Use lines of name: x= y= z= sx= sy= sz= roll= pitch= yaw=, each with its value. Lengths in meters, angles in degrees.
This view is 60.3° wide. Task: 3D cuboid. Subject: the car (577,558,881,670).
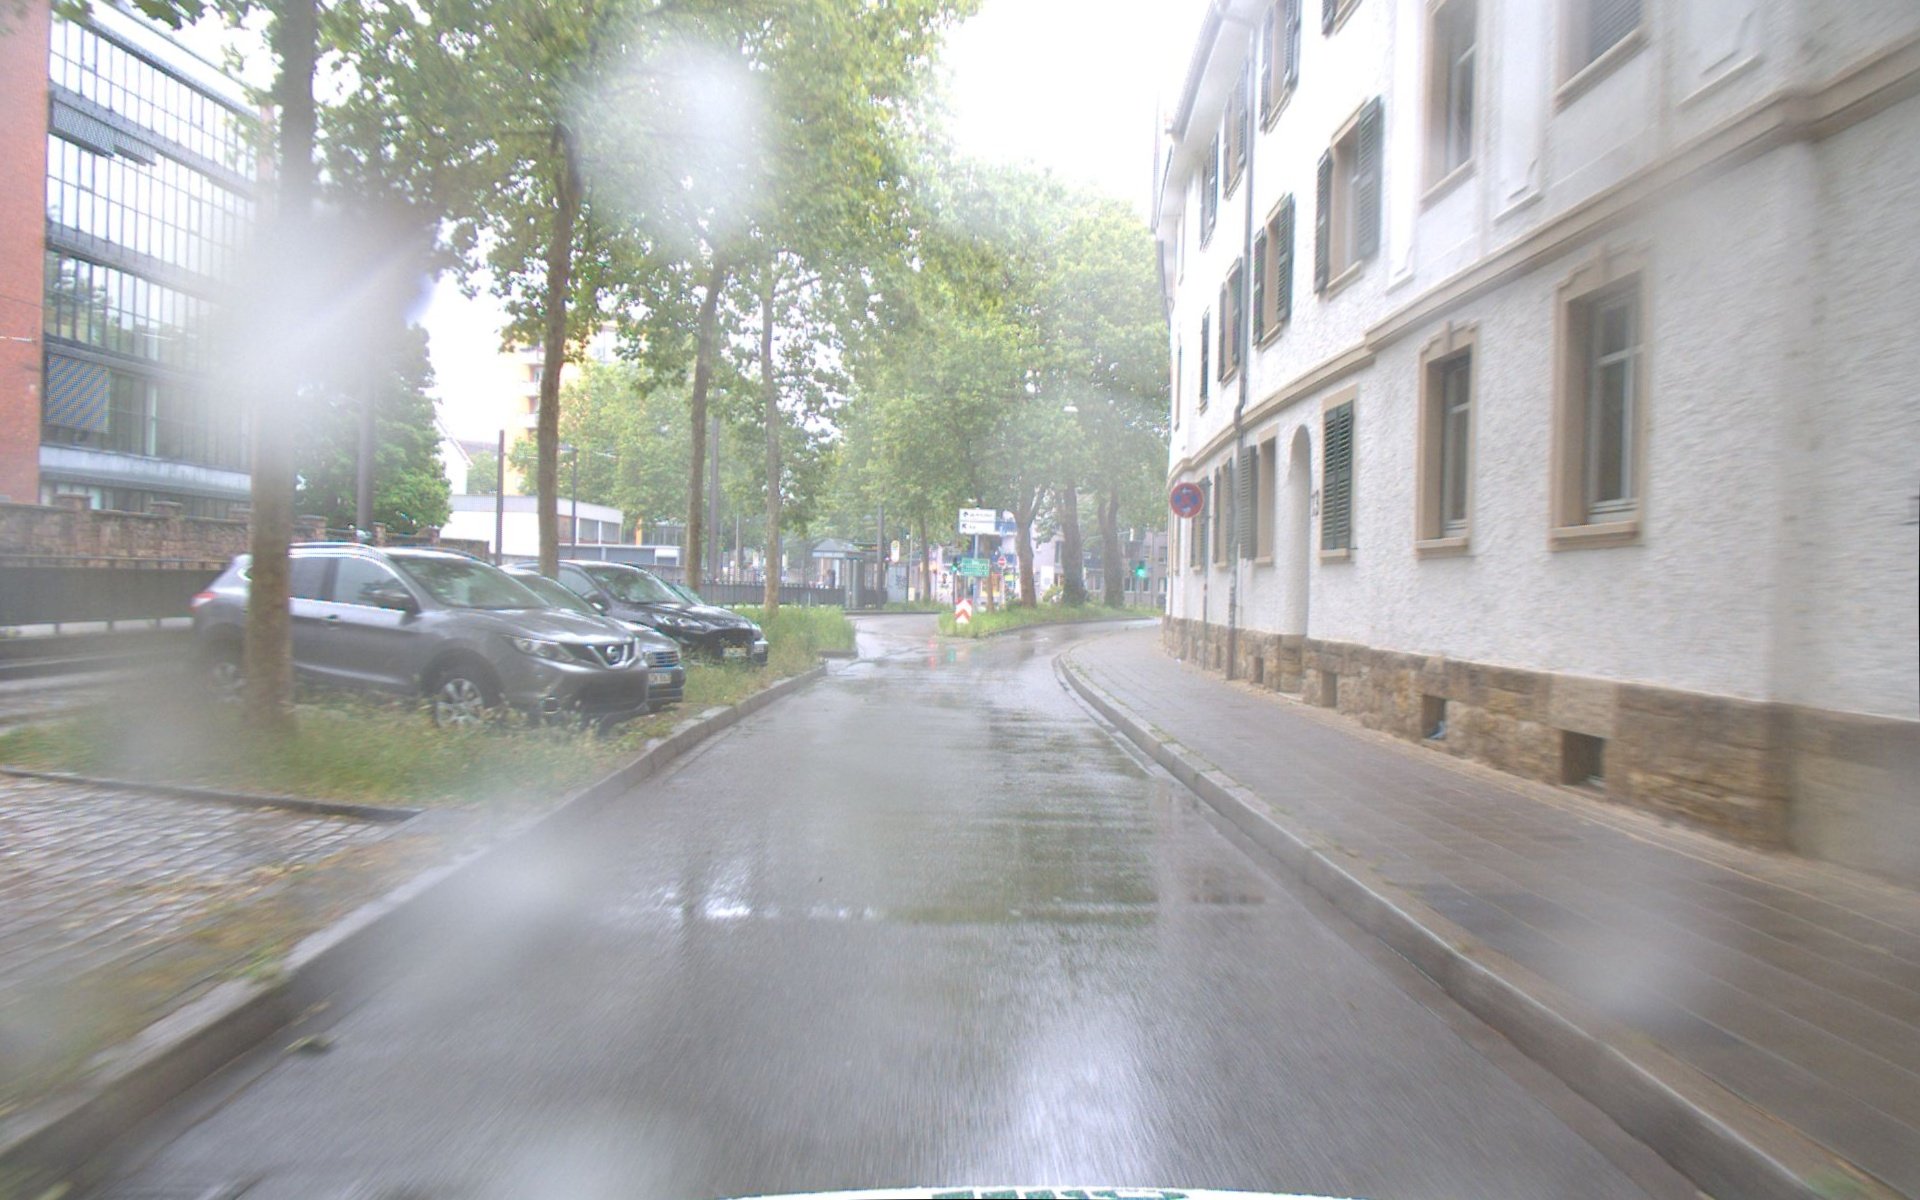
car: x=-3.504 y=0.158 z=24.950 sx=4.270 sy=1.539 sz=1.957 roll=1 pitch=1 yaw=30

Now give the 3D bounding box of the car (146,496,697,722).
car: x=-4.680 y=0.031 z=14.345 sx=4.371 sy=1.625 sz=1.922 roll=3 pitch=0 yaw=25

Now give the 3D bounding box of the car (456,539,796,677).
car: x=-4.639 y=0.053 z=22.800 sx=4.434 sy=1.744 sz=1.957 roll=1 pitch=1 yaw=30

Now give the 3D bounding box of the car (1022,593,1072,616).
car: x=7.435 y=0.406 z=141.358 sx=3.968 sy=1.625 sz=1.969 roll=5 pitch=-2 yaw=-44

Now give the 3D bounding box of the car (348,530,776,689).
car: x=-4.377 y=0.068 z=18.032 sx=4.463 sy=1.547 sz=1.919 roll=1 pitch=-1 yaw=31
